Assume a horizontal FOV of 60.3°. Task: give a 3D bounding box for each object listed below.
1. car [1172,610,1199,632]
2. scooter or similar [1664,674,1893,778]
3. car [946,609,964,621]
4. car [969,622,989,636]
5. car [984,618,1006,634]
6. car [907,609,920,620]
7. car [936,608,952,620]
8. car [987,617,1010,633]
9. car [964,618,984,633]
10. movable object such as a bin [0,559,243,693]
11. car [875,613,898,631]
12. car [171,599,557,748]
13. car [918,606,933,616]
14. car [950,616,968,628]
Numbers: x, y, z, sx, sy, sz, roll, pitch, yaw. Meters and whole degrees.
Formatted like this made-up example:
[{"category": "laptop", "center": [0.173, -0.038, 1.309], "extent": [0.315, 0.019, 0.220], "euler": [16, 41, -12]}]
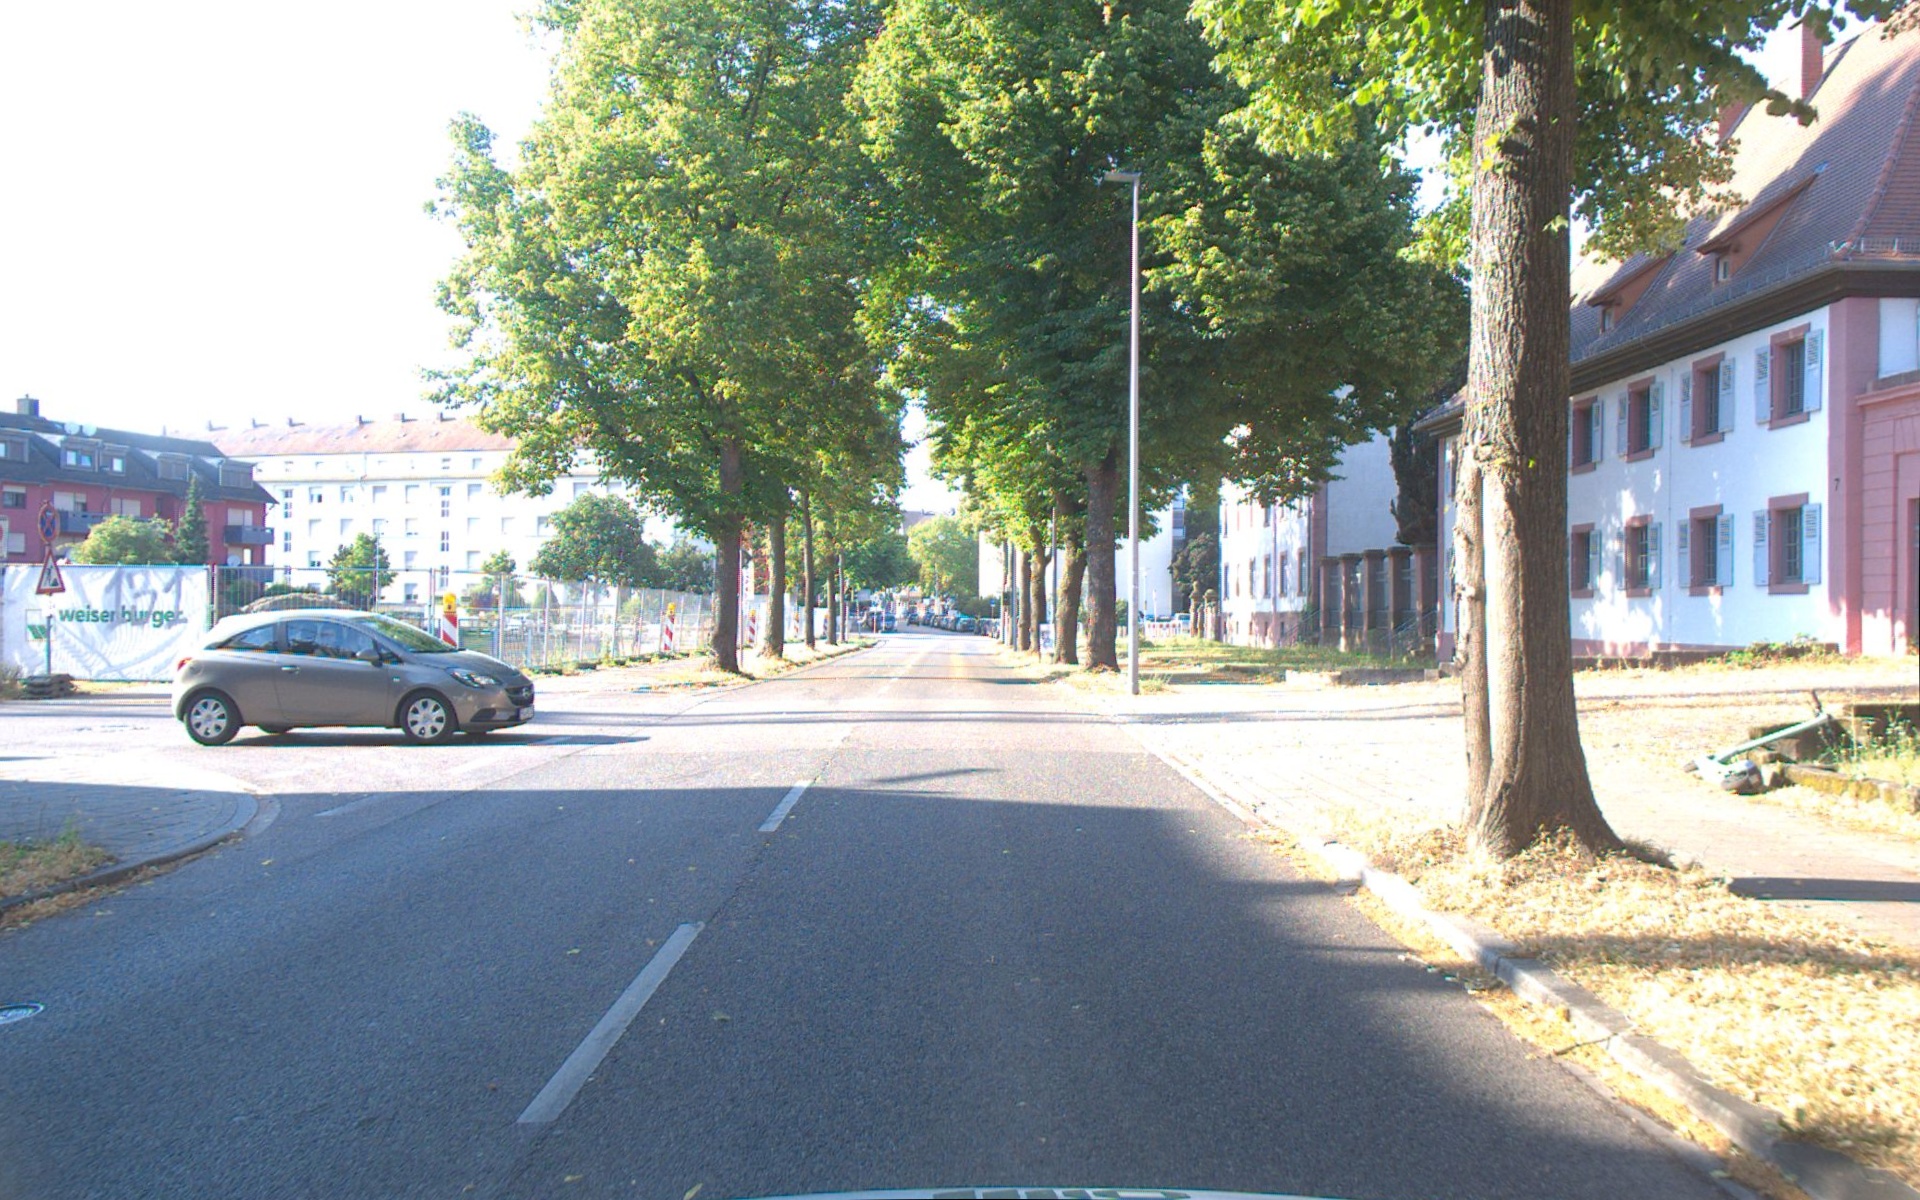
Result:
[{"category": "car", "center": [18.009, 1.683, 132.302], "extent": [1.775, 1.587, 3.626], "euler": [2, -2, 2]}, {"category": "scooter or similar", "center": [6.344, 0.966, 12.895], "extent": [1.201, 0.558, 1.063], "euler": [-8, 0, -1]}, {"category": "car", "center": [-0.587, 1.803, 195.642], "extent": [1.805, 1.410, 3.997], "euler": [0, -1, -4]}, {"category": "car", "center": [1.756, 2.673, 153.915], "extent": [1.804, 1.283, 3.999], "euler": [0, -1, -1]}, {"category": "car", "center": [3.115, 2.277, 147.273], "extent": [1.804, 1.283, 3.999], "euler": [2, 0, -1]}, {"category": "car", "center": [-6.722, 2.137, 239.709], "extent": [1.680, 1.512, 3.996], "euler": [-1, -1, -4]}, {"category": "car", "center": [-2.108, 1.840, 216.000], "extent": [1.805, 1.410, 3.997], "euler": [0, -1, -4]}, {"category": "car", "center": [3.164, 2.054, 136.925], "extent": [1.804, 1.283, 3.999], "euler": [0, -1, -1]}, {"category": "car", "center": [1.436, 2.646, 172.349], "extent": [1.805, 1.410, 3.997], "euler": [0, 0, -4]}, {"category": "movable object such as a bin", "center": [-35.374, 1.032, 68.528], "extent": [2.948, 5.080, 11.560], "euler": [-2, -1, 22]}, {"category": "car", "center": [-7.123, 2.119, 159.553], "extent": [1.955, 1.717, 3.994], "euler": [0, -1, -6]}, {"category": "car", "center": [-6.734, 0.809, 18.940], "extent": [3.764, 1.499, 1.651], "euler": [-2, -1, 2]}, {"category": "car", "center": [-5.135, 1.659, 245.111], "extent": [1.805, 1.410, 3.995], "euler": [0, 0, -6]}, {"category": "car", "center": [-0.115, 2.449, 183.508], "extent": [1.805, 1.410, 3.997], "euler": [0, -1, -4]}]
